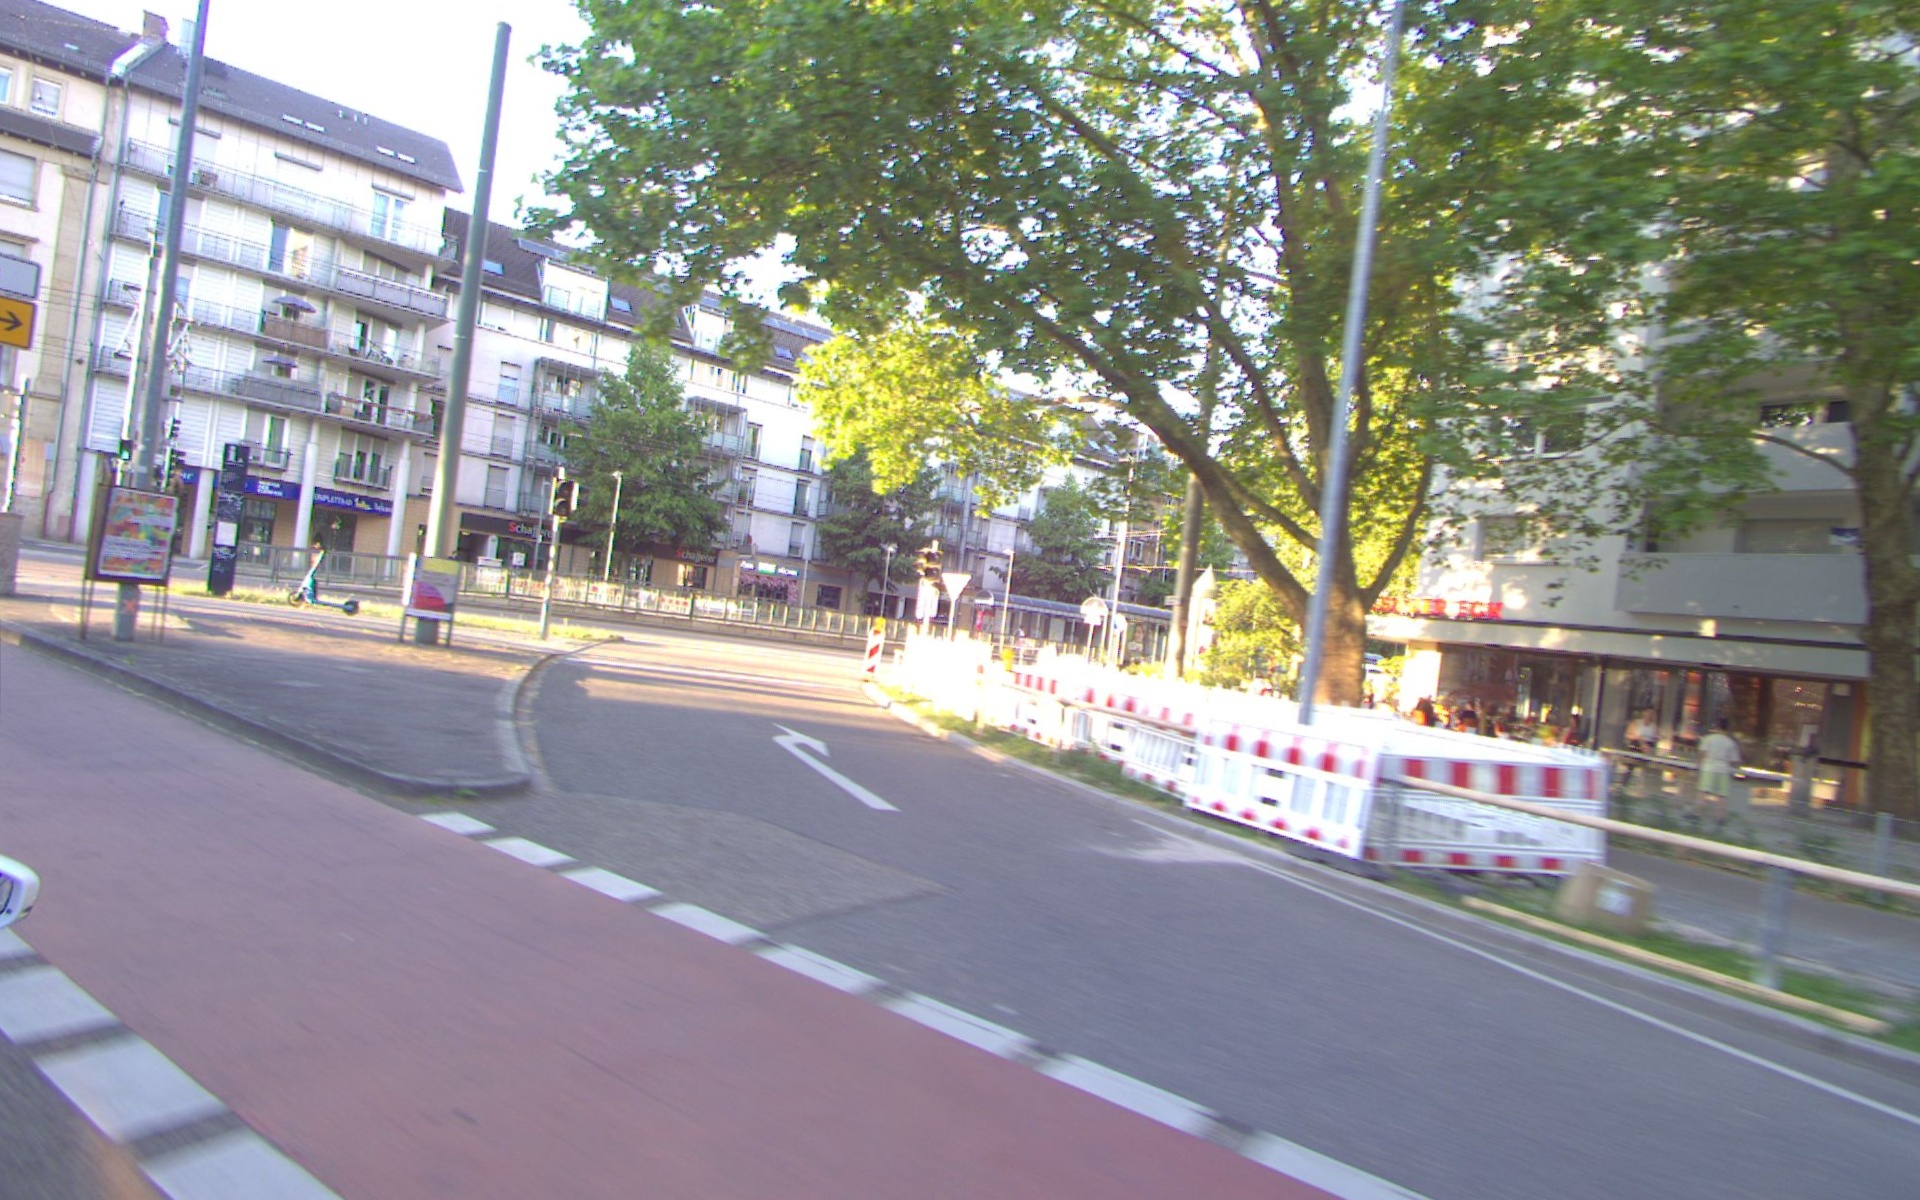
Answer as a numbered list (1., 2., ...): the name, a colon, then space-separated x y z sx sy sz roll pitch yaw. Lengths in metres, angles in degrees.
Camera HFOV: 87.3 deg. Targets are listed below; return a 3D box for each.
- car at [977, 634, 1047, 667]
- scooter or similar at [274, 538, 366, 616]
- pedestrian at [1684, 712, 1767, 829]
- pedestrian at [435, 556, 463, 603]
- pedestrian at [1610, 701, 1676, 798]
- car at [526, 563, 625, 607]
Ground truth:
1. car: 3.298 3.202 63.607 3.965 1.503 1.833 9 -3 -34
2. scooter or similar: -11.894 -0.415 18.724 1.217 1.263 0.513 8 -2 -19
3. pedestrian: 11.468 2.530 15.099 0.733 1.607 0.641 6 -1 25
4. pedestrian: -25.728 -1.024 50.646 0.864 2.234 0.812 8 -2 -39
5. pedestrian: 12.230 2.659 18.028 0.733 1.607 0.641 6 -1 25
6. car: -18.351 -0.723 48.090 3.971 1.503 1.830 9 -3 -39
